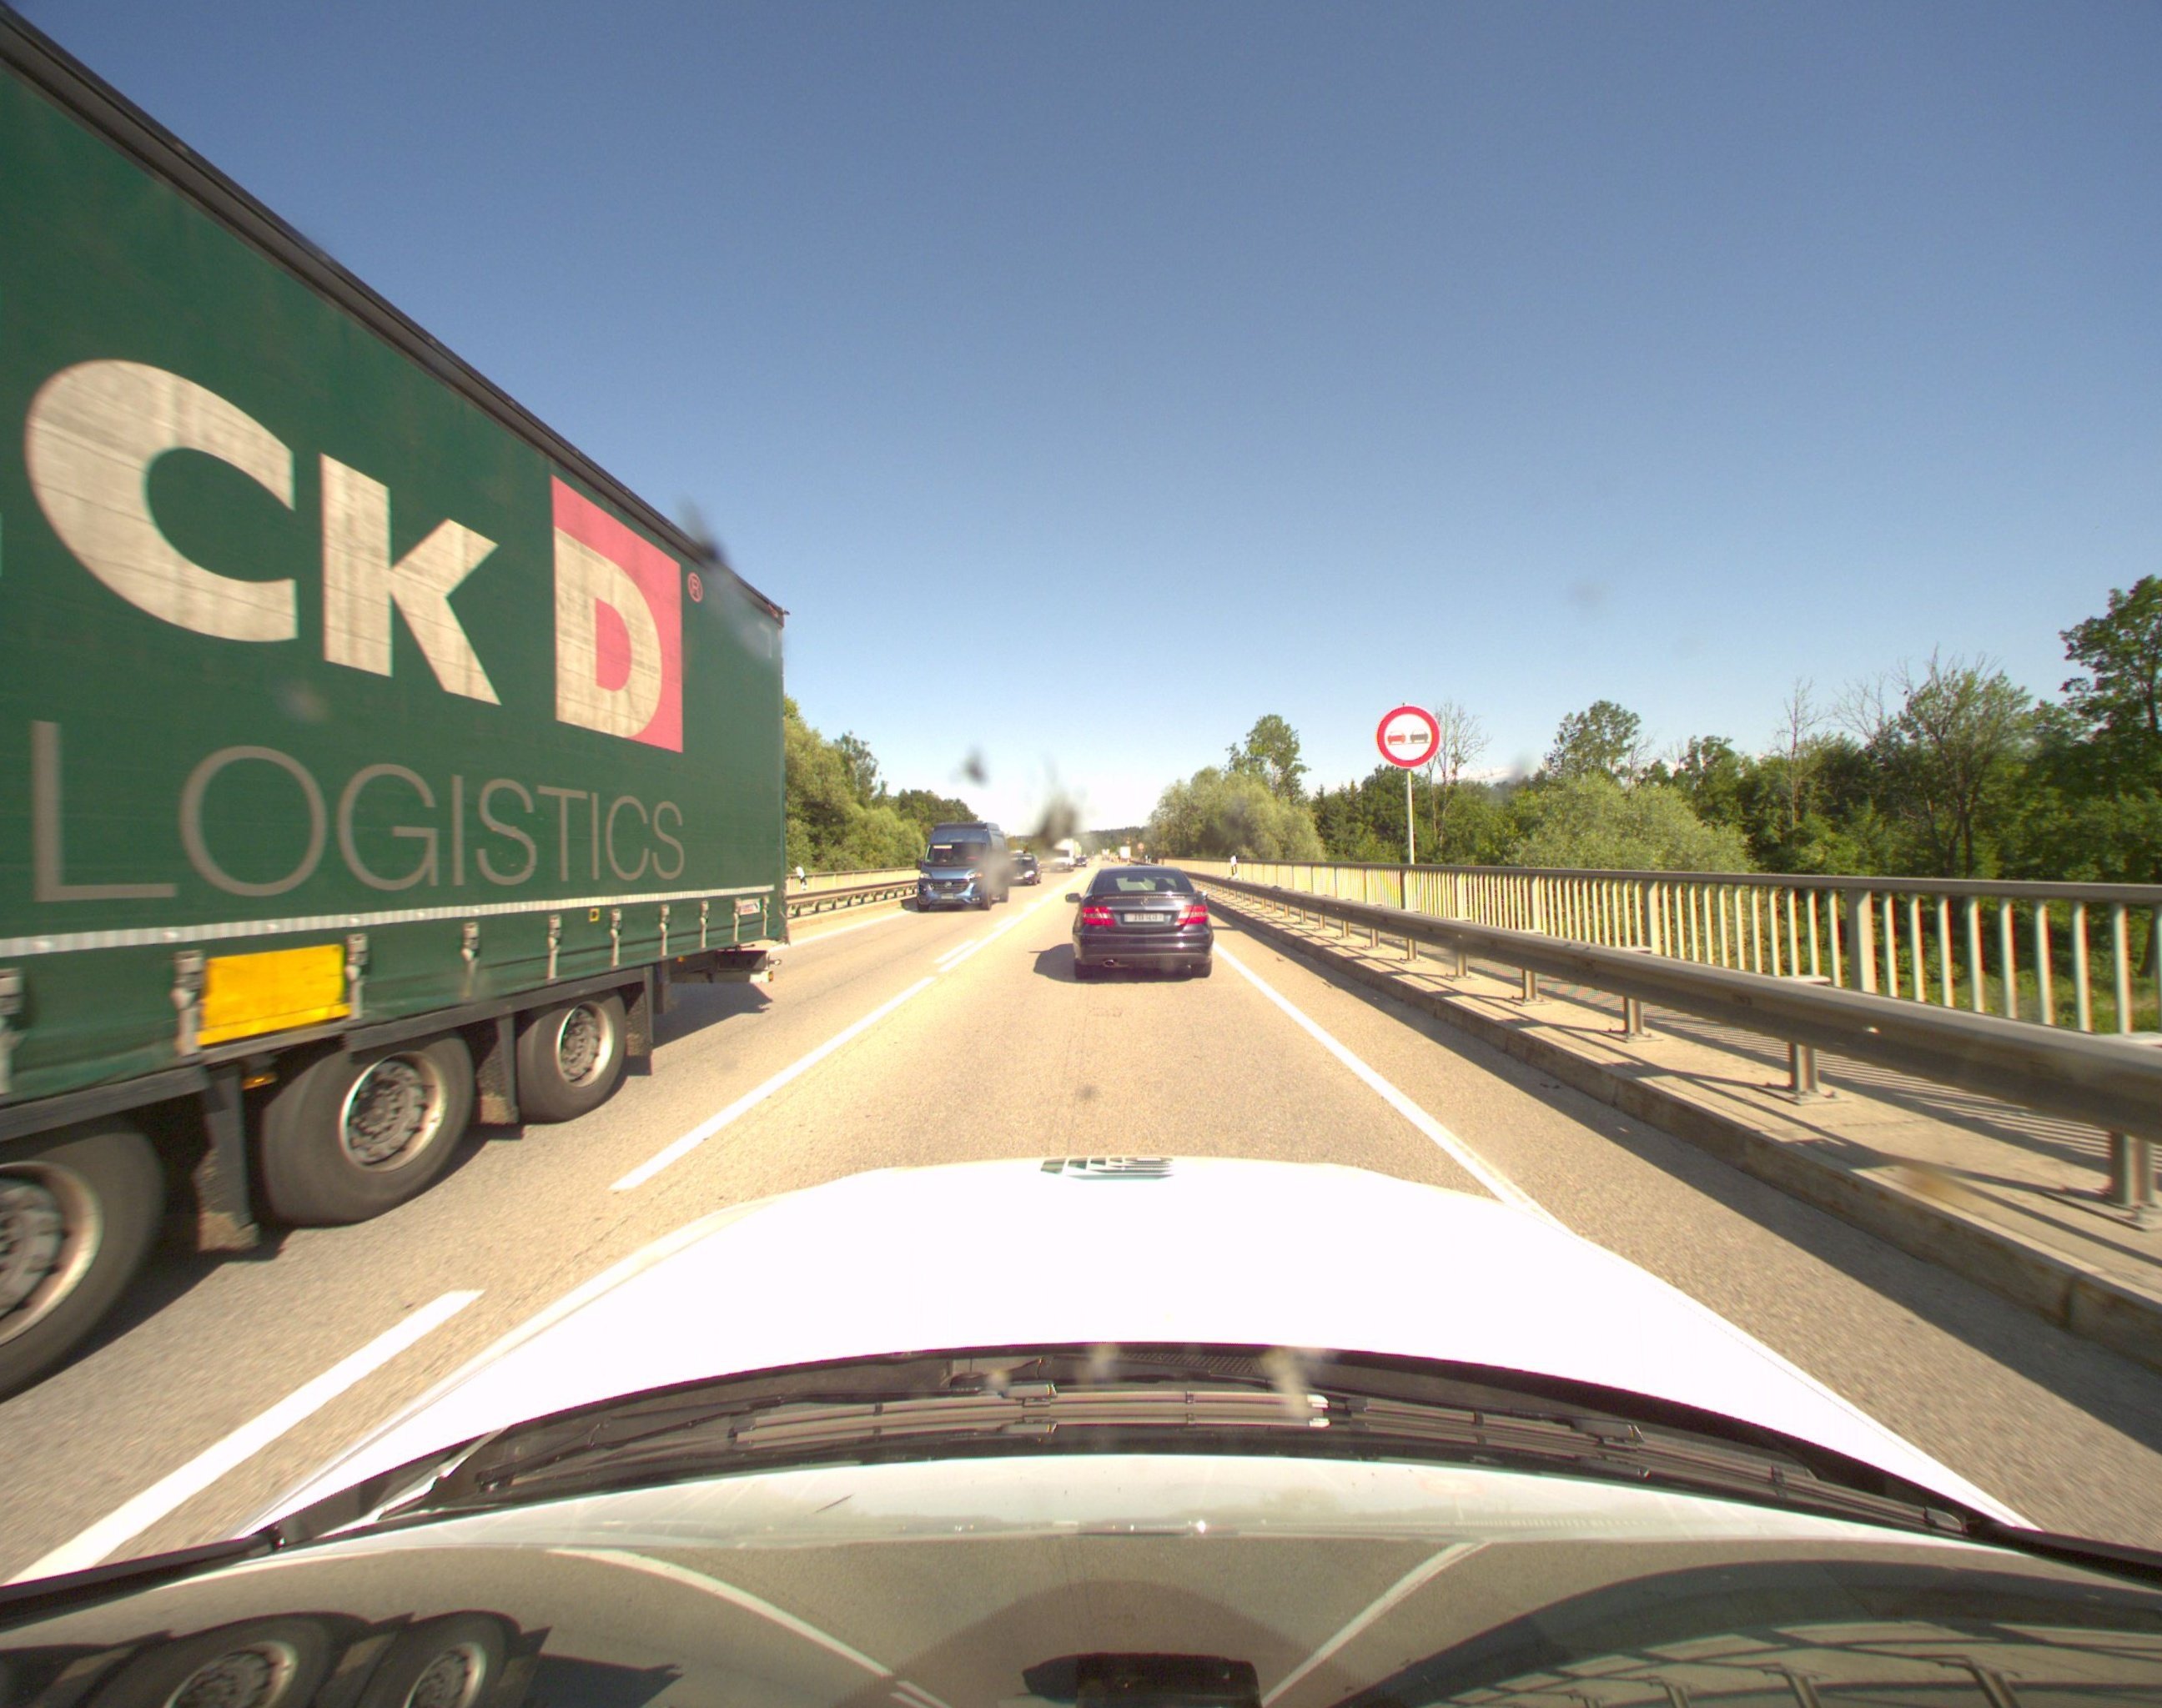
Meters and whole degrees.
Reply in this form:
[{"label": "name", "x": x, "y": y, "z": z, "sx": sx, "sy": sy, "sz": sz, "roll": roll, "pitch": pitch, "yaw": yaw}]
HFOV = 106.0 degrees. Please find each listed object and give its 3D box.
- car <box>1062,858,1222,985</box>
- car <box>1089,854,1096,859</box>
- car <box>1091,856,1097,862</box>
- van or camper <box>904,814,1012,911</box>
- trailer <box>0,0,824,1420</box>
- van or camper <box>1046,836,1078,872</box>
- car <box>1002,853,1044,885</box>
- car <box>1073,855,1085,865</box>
[{"label": "car", "x": 0.797, "y": 0.775, "z": 11.219, "sx": 1.786, "sy": 1.376, "sz": 4.003, "roll": -1, "pitch": 0, "yaw": 3}, {"label": "car", "x": 3.372, "y": 0.731, "z": 242.541, "sx": 1.796, "sy": 1.606, "sz": 3.918, "roll": -1, "pitch": 0, "yaw": 3}, {"label": "car", "x": 4.112, "y": 1.596, "z": 256.416, "sx": 1.985, "sy": 2.013, "sz": 4.003, "roll": -1, "pitch": 0, "yaw": 3}, {"label": "van or camper", "x": -3.672, "y": 0.241, "z": 25.799, "sx": 2.422, "sy": 2.642, "sz": 6.403, "roll": -1, "pitch": 0, "yaw": 0}, {"label": "trailer", "x": -4.426, "y": -0.597, "z": 1.521, "sx": 2.896, "sy": 4.302, "sz": 14.307, "roll": -1, "pitch": 0, "yaw": 2}, {"label": "van or camper", "x": -1.764, "y": -0.006, "z": 79.143, "sx": 2.625, "sy": 3.256, "sz": 7.753, "roll": -1, "pitch": 0, "yaw": 2}, {"label": "car", "x": -3.107, "y": 0.763, "z": 44.251, "sx": 1.834, "sy": 1.642, "sz": 4.578, "roll": -1, "pitch": 0, "yaw": 1}, {"label": "car", "x": -0.330, "y": 0.835, "z": 115.389, "sx": 1.655, "sy": 1.436, "sz": 4.186, "roll": -1, "pitch": 0, "yaw": -1}]
